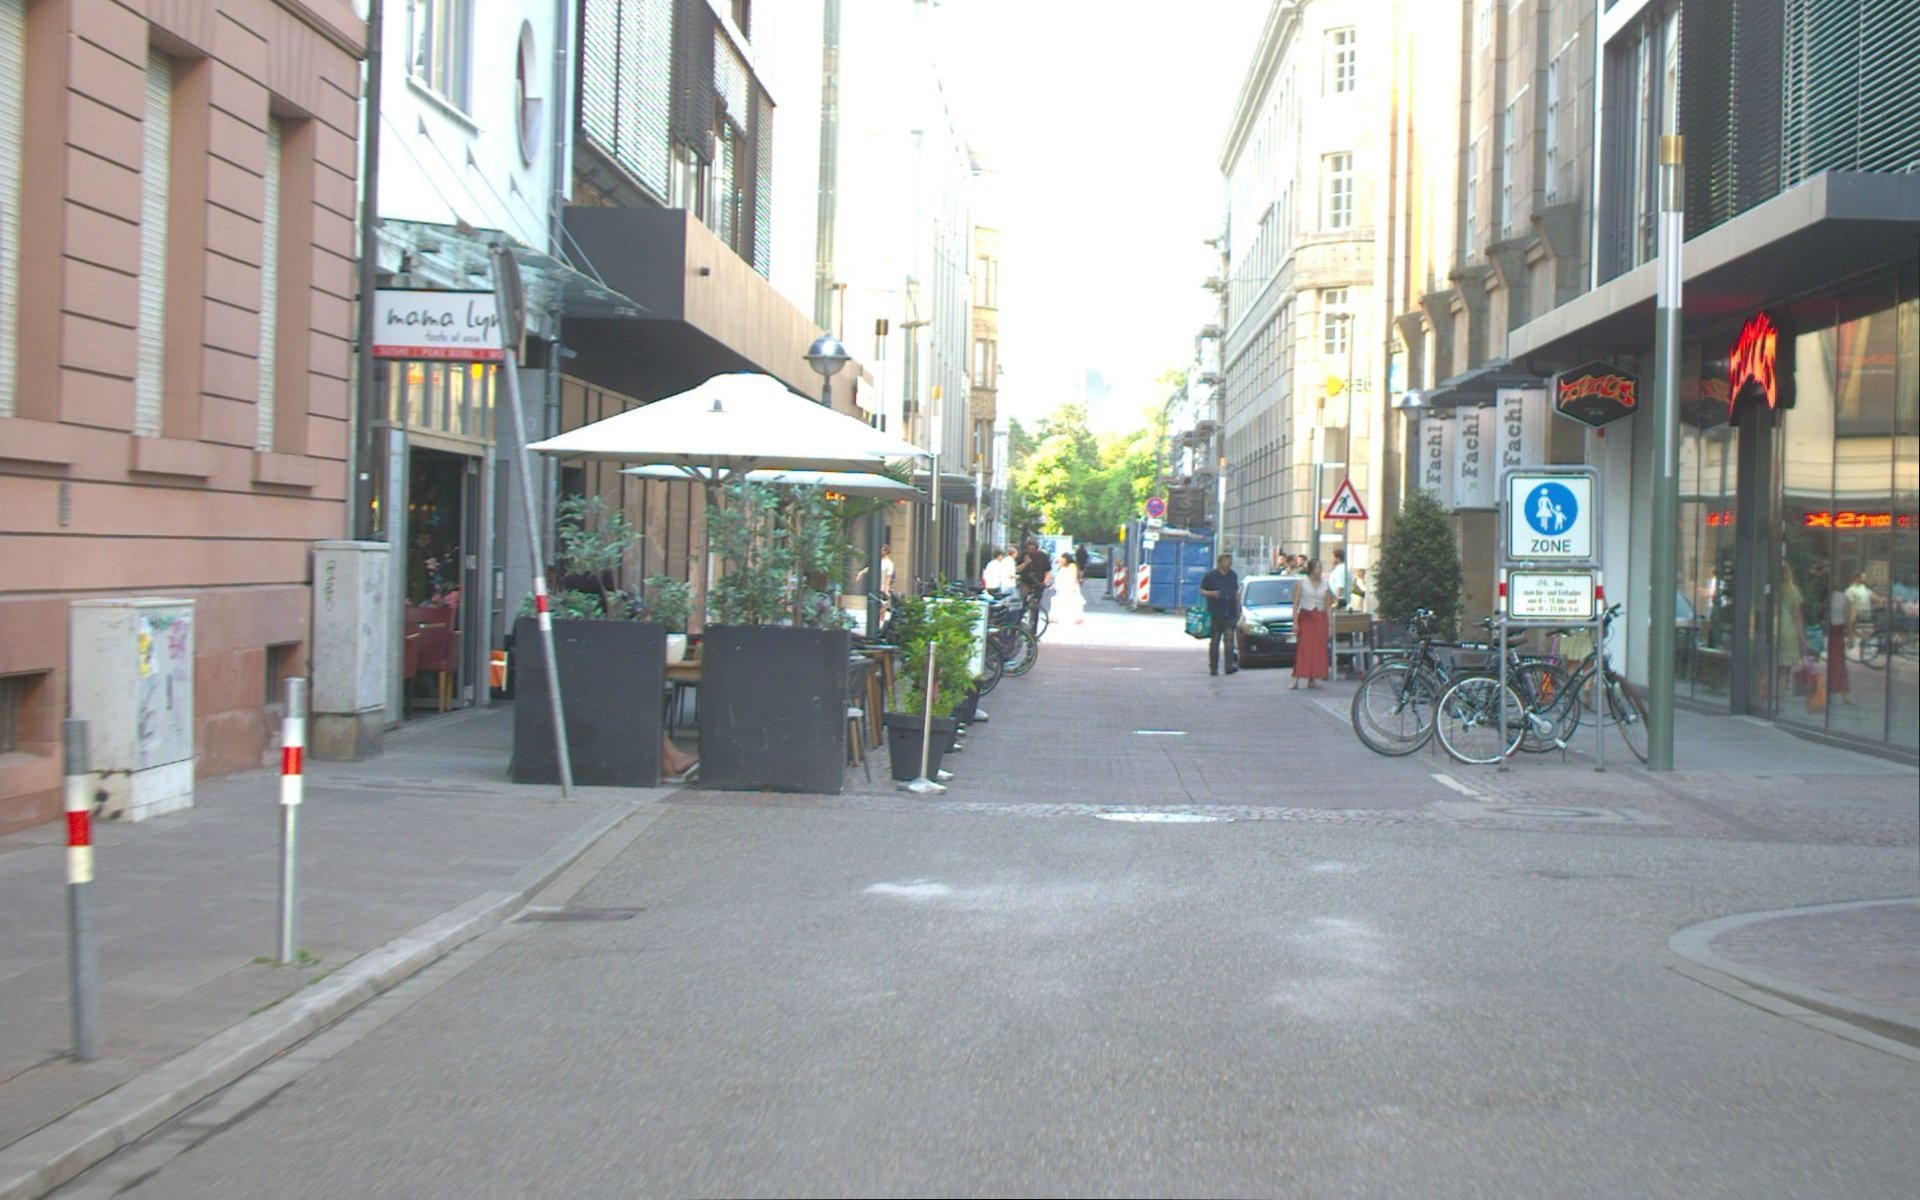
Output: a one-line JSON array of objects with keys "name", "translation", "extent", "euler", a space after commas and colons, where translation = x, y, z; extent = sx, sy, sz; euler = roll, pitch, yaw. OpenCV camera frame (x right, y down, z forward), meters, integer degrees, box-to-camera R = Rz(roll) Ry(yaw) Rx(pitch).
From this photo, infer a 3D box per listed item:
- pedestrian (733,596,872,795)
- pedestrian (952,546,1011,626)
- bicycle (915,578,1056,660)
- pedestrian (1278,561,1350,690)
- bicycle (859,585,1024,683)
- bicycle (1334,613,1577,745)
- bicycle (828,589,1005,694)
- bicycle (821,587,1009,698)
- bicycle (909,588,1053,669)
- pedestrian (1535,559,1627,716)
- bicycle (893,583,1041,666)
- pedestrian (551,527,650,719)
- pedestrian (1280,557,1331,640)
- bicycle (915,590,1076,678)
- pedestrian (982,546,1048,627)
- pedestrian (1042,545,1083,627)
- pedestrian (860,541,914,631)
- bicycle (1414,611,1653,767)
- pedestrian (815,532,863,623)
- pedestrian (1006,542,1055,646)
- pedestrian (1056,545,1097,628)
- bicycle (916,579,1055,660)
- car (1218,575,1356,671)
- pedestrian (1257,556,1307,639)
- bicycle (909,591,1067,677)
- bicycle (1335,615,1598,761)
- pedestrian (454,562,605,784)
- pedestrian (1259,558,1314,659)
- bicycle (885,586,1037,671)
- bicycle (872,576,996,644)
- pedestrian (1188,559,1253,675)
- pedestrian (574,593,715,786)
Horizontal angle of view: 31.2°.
[{"name": "pedestrian", "translation": [-0.988, 0.590, 21.486], "extent": [0.790, 1.179, 0.674], "euler": [3, 0, -3]}, {"name": "pedestrian", "translation": [0.471, -0.311, 75.379], "extent": [0.931, 1.728, 0.864], "euler": [1, 1, -45]}, {"name": "bicycle", "translation": [0.391, 0.284, 51.750], "extent": [2.048, 1.091, 0.467], "euler": [4, 1, 2]}, {"name": "pedestrian", "translation": [4.373, 0.303, 42.564], "extent": [0.797, 1.560, 0.859], "euler": [1, 1, 3]}, {"name": "bicycle", "translation": [-0.224, 0.413, 42.168], "extent": [1.947, 1.071, 0.467], "euler": [4, 1, 2]}, {"name": "bicycle", "translation": [4.291, 0.682, 29.811], "extent": [2.034, 1.117, 0.467], "euler": [0, 1, 2]}, {"name": "bicycle", "translation": [-0.489, 0.471, 39.360], "extent": [1.947, 1.071, 0.467], "euler": [4, 1, 2]}, {"name": "bicycle", "translation": [-0.483, 0.457, 37.242], "extent": [1.947, 1.071, 0.467], "euler": [4, 1, 2]}, {"name": "bicycle", "translation": [0.317, 0.409, 50.523], "extent": [2.048, 1.046, 0.467], "euler": [4, 1, 2]}, {"name": "pedestrian", "translation": [6.357, 0.374, 35.229], "extent": [0.797, 1.560, 0.859], "euler": [1, 1, 4]}, {"name": "bicycle", "translation": [0.110, 0.349, 49.222], "extent": [2.048, 1.046, 0.467], "euler": [4, 1, 2]}, {"name": "pedestrian", "translation": [-3.129, 0.194, 30.000], "extent": [0.790, 1.643, 0.725], "euler": [1, 1, -3]}, {"name": "pedestrian", "translation": [6.977, -0.035, 69.537], "extent": [0.904, 1.655, 0.793], "euler": [1, 1, 0]}, {"name": "bicycle", "translation": [0.468, 0.447, 45.306], "extent": [2.048, 1.013, 0.467], "euler": [4, 1, 2]}, {"name": "pedestrian", "translation": [1.193, -0.292, 74.546], "extent": [0.979, 1.728, 1.012], "euler": [1, 1, -45]}, {"name": "pedestrian", "translation": [2.373, -0.327, 79.712], "extent": [0.904, 1.853, 0.836], "euler": [1, 1, 2]}, {"name": "pedestrian", "translation": [-1.518, -0.301, 71.752], "extent": [1.025, 1.853, 0.906], "euler": [1, 1, 2]}, {"name": "bicycle", "translation": [4.255, 0.659, 25.580], "extent": [1.697, 1.132, 0.467], "euler": [0, 1, 2]}, {"name": "pedestrian", "translation": [-2.509, -0.468, 71.274], "extent": [0.904, 1.853, 0.836], "euler": [1, 1, 2]}, {"name": "pedestrian", "translation": [1.279, -0.107, 62.301], "extent": [0.833, 1.853, 0.907], "euler": [1, 1, 1]}, {"name": "pedestrian", "translation": [2.676, -0.314, 78.903], "extent": [0.904, 1.853, 0.836], "euler": [1, 1, 2]}, {"name": "bicycle", "translation": [0.396, 0.299, 52.606], "extent": [2.048, 1.091, 0.467], "euler": [4, 1, 2]}, {"name": "car", "translation": [5.126, 0.334, 54.297], "extent": [1.754, 1.436, 3.928], "euler": [1, 1, -1]}, {"name": "pedestrian", "translation": [6.579, -0.052, 70.260], "extent": [0.904, 1.655, 0.793], "euler": [1, 1, 0]}, {"name": "bicycle", "translation": [0.379, 0.451, 46.228], "extent": [2.048, 1.013, 0.467], "euler": [4, 1, 2]}, {"name": "bicycle", "translation": [3.991, 0.688, 27.152], "extent": [2.009, 1.117, 0.467], "euler": [0, 1, 2]}, {"name": "pedestrian", "translation": [-2.682, 0.446, 21.468], "extent": [0.790, 1.326, 0.674], "euler": [3, 0, 0]}, {"name": "pedestrian", "translation": [6.088, 0.146, 64.125], "extent": [0.904, 1.853, 0.836], "euler": [1, 1, 1]}, {"name": "bicycle", "translation": [0.022, 0.393, 47.852], "extent": [2.048, 1.046, 0.467], "euler": [4, 1, 2]}, {"name": "bicycle", "translation": [-0.446, 0.171, 58.746], "extent": [2.048, 1.010, 0.467], "euler": [4, 1, 2]}, {"name": "pedestrian", "translation": [3.819, 0.241, 50.499], "extent": [0.899, 1.655, 0.930], "euler": [1, 1, 3]}, {"name": "pedestrian", "translation": [-2.036, 0.571, 22.267], "extent": [0.790, 1.179, 0.674], "euler": [3, 0, 0]}]
